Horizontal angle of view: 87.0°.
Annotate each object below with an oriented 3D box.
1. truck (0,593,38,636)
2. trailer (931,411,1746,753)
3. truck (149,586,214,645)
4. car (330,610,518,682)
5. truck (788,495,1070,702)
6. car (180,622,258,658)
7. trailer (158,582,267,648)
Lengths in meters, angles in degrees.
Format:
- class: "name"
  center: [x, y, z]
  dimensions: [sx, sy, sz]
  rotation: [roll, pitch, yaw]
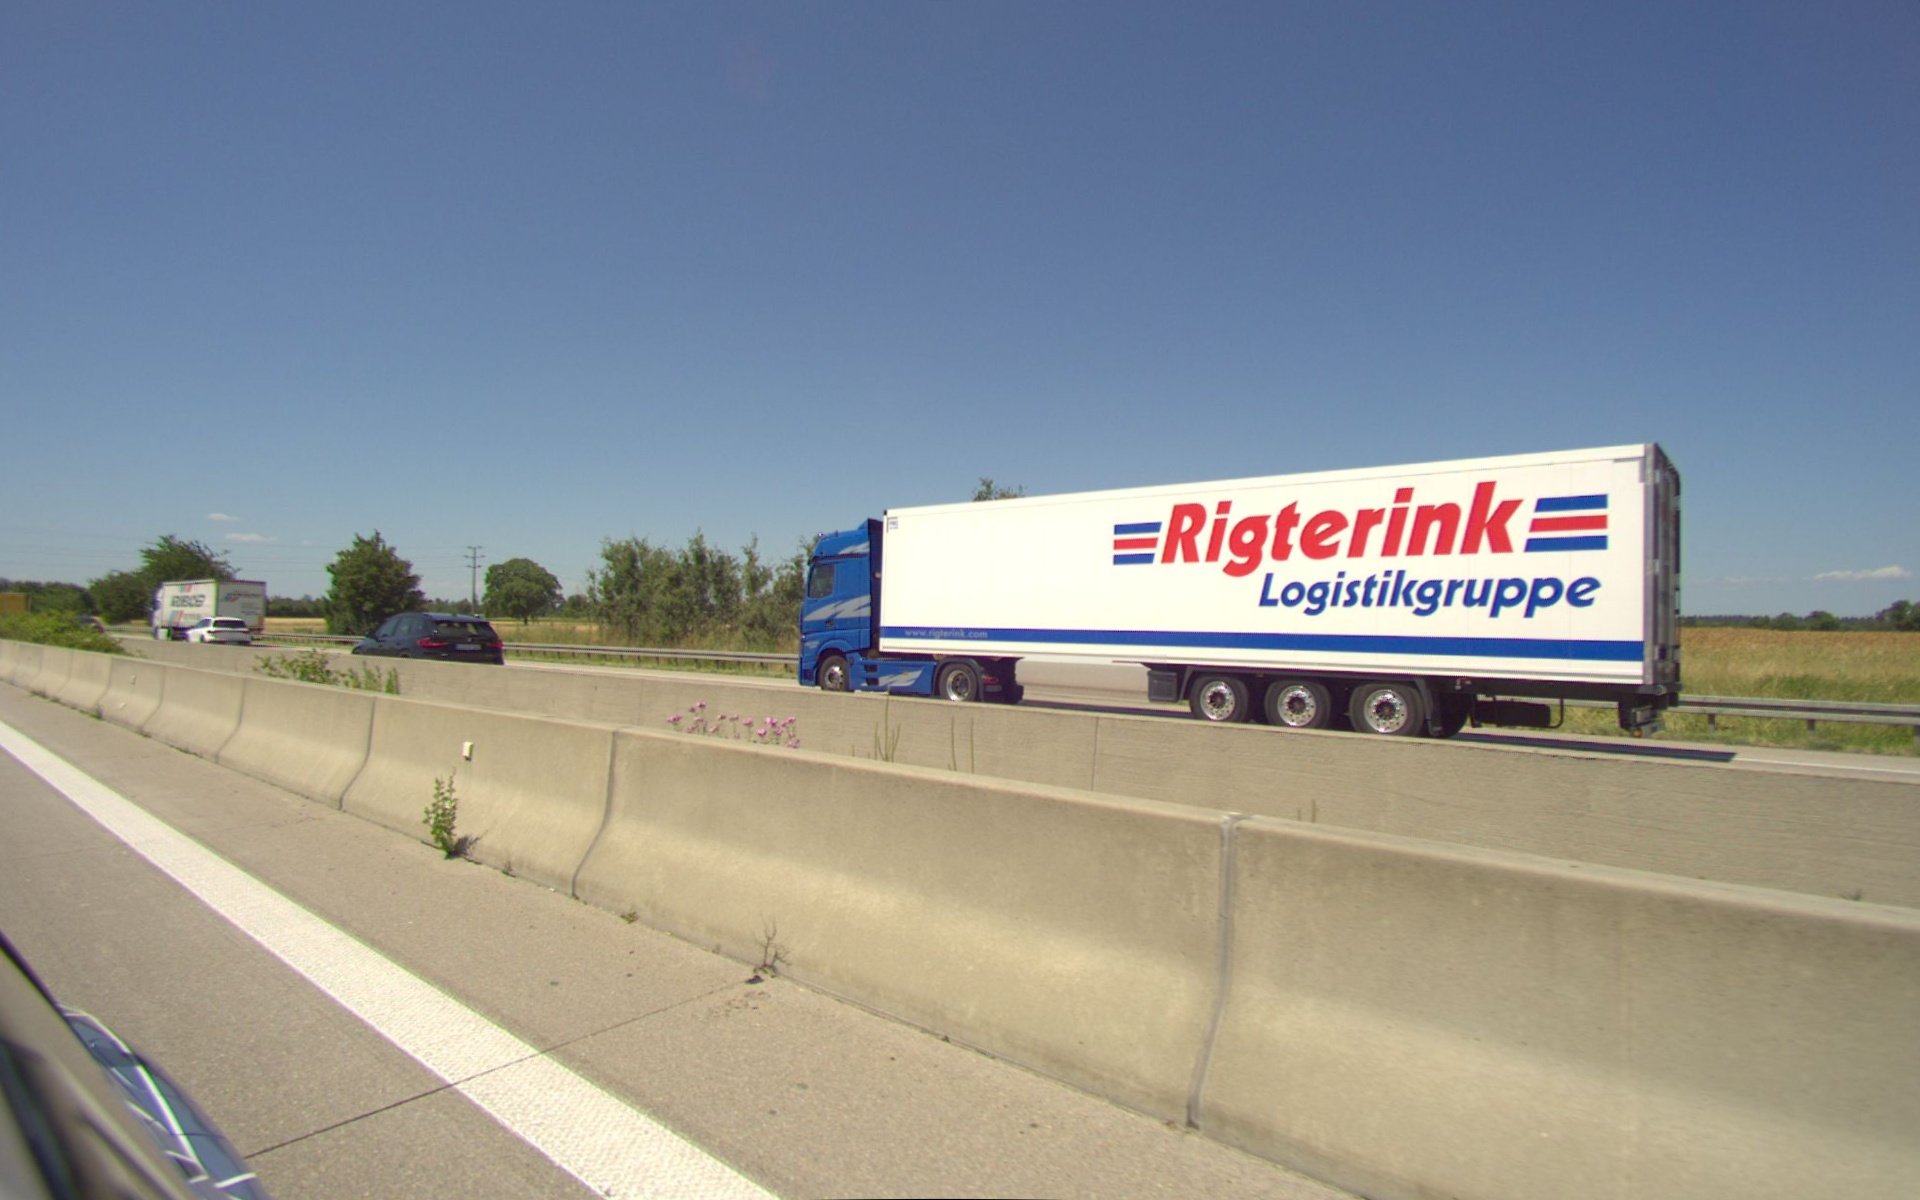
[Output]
- class: "truck"
  center: [-93.257, 1.390, 99.934]
  dimensions: [5.538, 4.111, 2.715]
  rotation: [-1, 0, 41]
- class: "trailer"
  center: [5.084, -0.134, 16.872]
  dimensions: [12.504, 3.938, 2.878]
  rotation: [-1, 0, 41]
- class: "truck"
  center: [-53.467, 1.043, 69.483]
  dimensions: [4.449, 3.869, 2.741]
  rotation: [-1, 0, 41]
- class: "car"
  center: [-11.572, 0.922, 21.672]
  dimensions: [5.067, 1.336, 1.879]
  rotation: [-1, 0, 41]
- class: "truck"
  center: [-0.788, 0.002, 22.038]
  dimensions: [5.682, 3.893, 2.867]
  rotation: [-1, 0, 41]
- class: "car"
  center: [-34.988, 1.870, 47.744]
  dimensions: [4.367, 1.596, 1.973]
  rotation: [-1, -4, 41]
- class: "trailer"
  center: [-47.965, 0.948, 64.675]
  dimensions: [13.821, 3.831, 2.741]
  rotation: [-1, 0, 41]
